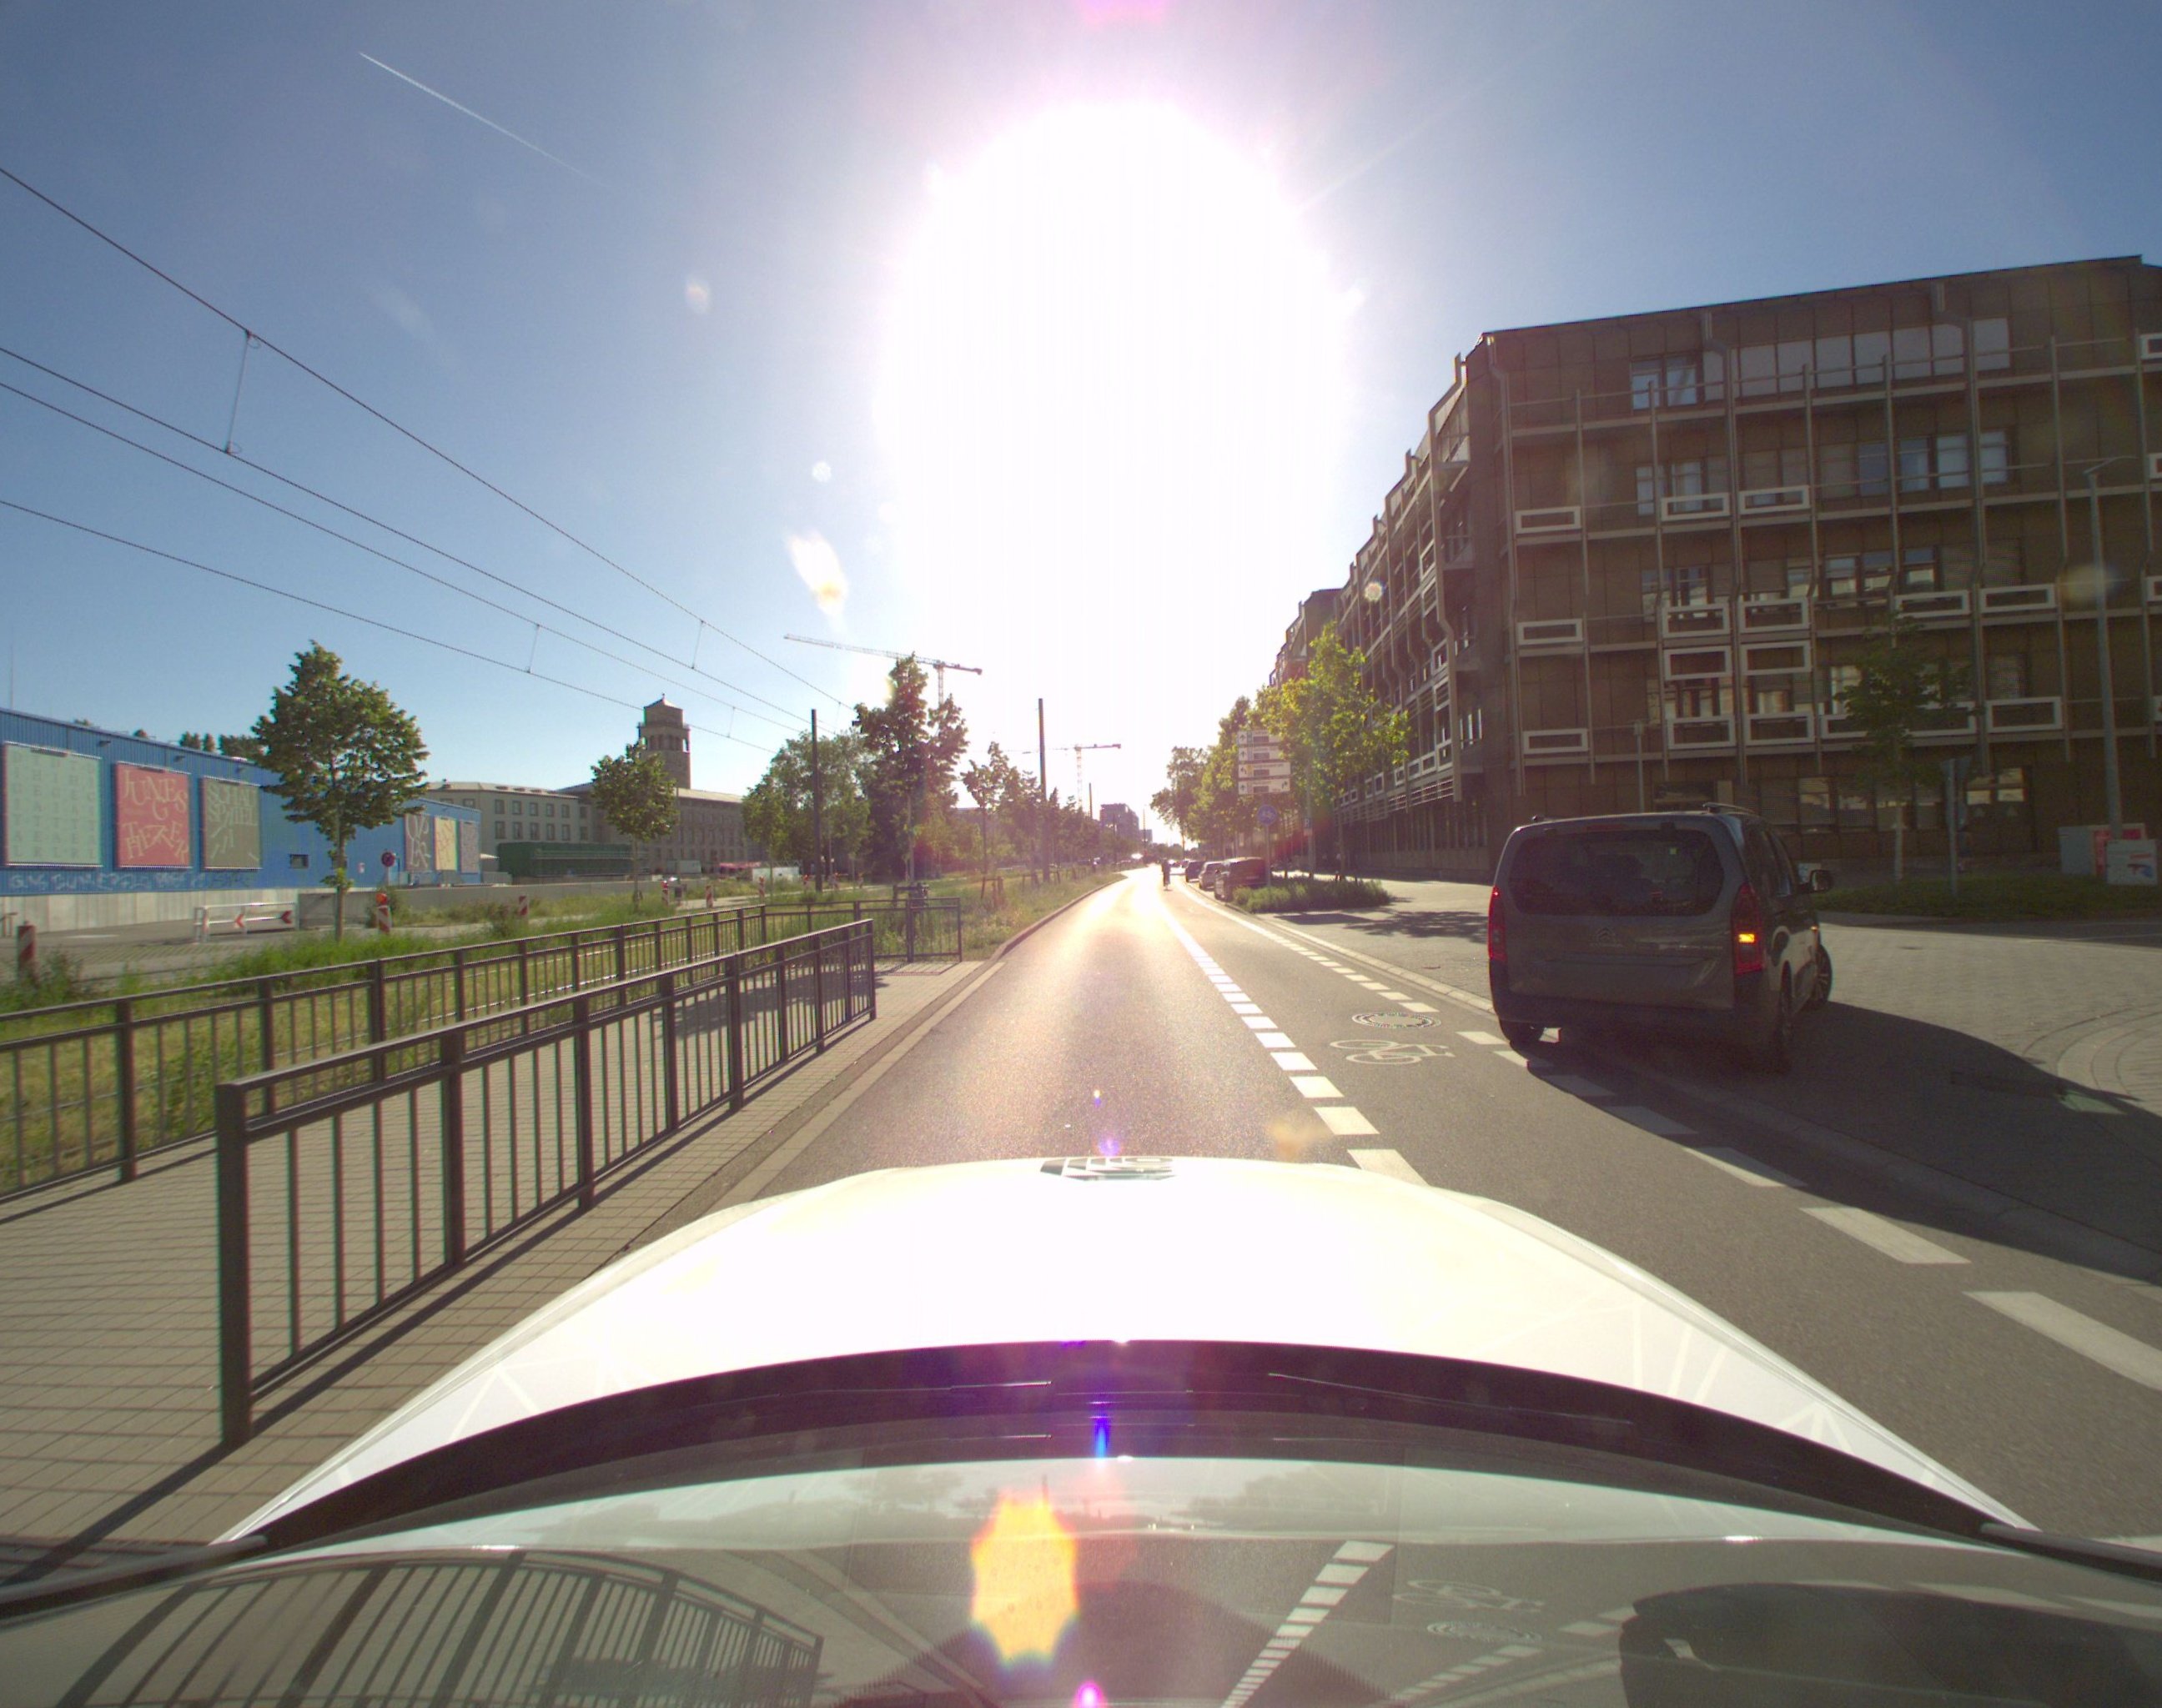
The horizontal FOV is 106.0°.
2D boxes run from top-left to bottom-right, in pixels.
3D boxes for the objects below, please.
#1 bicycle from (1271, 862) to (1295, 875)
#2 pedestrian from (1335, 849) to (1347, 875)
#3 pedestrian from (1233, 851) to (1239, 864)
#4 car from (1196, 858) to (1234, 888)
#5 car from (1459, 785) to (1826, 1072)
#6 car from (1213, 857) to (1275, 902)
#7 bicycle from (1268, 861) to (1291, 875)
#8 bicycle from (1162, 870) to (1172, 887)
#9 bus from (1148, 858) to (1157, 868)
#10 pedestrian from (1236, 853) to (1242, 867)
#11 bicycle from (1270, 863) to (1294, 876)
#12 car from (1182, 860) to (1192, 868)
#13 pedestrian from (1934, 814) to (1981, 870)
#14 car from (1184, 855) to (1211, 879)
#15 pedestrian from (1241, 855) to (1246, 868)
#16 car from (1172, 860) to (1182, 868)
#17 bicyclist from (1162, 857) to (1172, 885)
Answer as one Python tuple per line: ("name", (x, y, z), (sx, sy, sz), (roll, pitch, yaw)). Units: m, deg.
("bicycle", (17.024, 1.213, 68.704), (1.846, 0.939, 0.428), (-4, -1, 9))
("pedestrian", (16.752, 0.541, 52.398), (0.508, 1.622, 0.675), (-4, -1, 8))
("pedestrian", (17.852, 0.435, 93.785), (0.508, 1.474, 0.738), (-4, -1, 8))
("car", (7.366, 1.032, 44.968), (1.611, 1.465, 4.159), (-3, -1, 4))
("car", (5.063, 0.454, 7.083), (4.191, 1.752, 1.795), (-1, -1, -44))
("car", (6.482, 0.993, 32.868), (1.740, 1.659, 4.472), (-2, -1, 2))
("bicycle", (17.376, 1.184, 71.327), (1.846, 1.097, 0.428), (-4, -1, 9))
("bicycle", (4.945, 1.413, 47.079), (0.495, 0.906, 2.199), (0, -1, 4))
("bus", (23.198, 2.907, 263.277), (2.614, 2.960, 9.915), (0, -1, 6))
("pedestrian", (19.384, 0.771, 99.708), (0.644, 1.728, 0.805), (-2, -1, 8))
("bicycle", (17.190, 1.345, 69.671), (1.846, 1.011, 0.428), (-4, -1, 9))
("car", (20.708, 1.918, 159.314), (1.711, 1.618, 4.198), (-2, 0, 10))
("pedestrian", (29.004, -0.387, 26.959), (0.636, 1.783, 0.775), (-2, -1, 1))
("car", (9.031, 0.989, 63.450), (1.840, 1.657, 4.856), (-3, -1, 6))
("pedestrian", (22.408, 1.048, 112.077), (0.508, 1.701, 0.775), (-4, -1, 8))
("car", (19.214, 1.968, 162.969), (1.901, 1.486, 4.018), (-2, 0, 8))
("bicyclist", (4.930, 0.992, 46.944), (0.510, 1.601, 0.537), (-2, -1, 4))
